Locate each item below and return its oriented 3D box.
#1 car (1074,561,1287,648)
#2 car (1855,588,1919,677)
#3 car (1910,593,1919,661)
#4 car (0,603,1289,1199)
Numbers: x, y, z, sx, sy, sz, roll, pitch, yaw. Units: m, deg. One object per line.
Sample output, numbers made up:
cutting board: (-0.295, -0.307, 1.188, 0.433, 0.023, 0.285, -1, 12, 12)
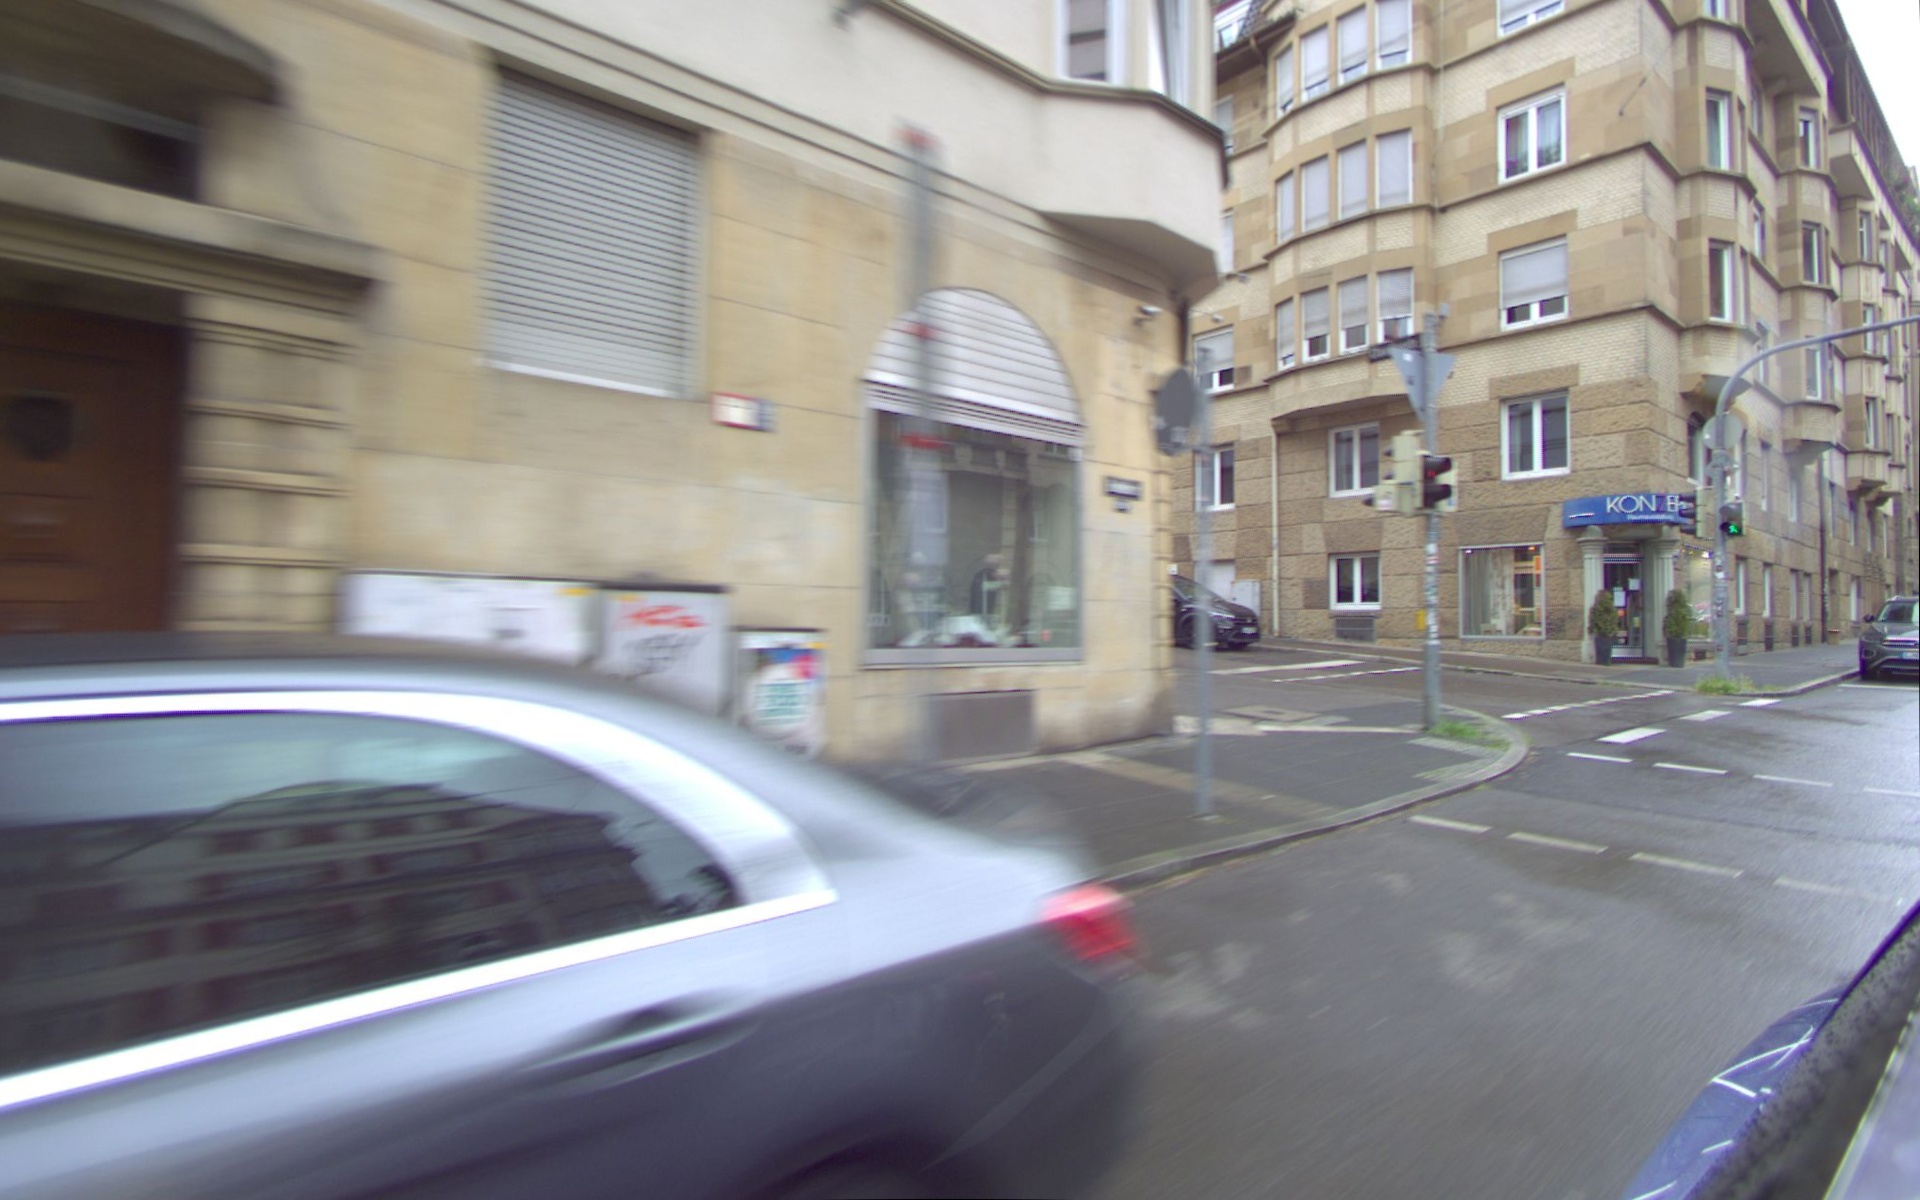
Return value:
car: (4.938, 0.051, 23.201, 1.841, 1.673, 4.521, 2, 2, -40)
car: (18.488, 0.558, 19.062, 3.920, 1.568, 1.871, 0, -1, -40)
car: (22.728, 0.567, 22.756, 3.473, 1.472, 1.707, 0, -1, -43)
car: (-1.671, 0.757, 1.361, 4.730, 1.428, 1.714, -1, 0, -39)
